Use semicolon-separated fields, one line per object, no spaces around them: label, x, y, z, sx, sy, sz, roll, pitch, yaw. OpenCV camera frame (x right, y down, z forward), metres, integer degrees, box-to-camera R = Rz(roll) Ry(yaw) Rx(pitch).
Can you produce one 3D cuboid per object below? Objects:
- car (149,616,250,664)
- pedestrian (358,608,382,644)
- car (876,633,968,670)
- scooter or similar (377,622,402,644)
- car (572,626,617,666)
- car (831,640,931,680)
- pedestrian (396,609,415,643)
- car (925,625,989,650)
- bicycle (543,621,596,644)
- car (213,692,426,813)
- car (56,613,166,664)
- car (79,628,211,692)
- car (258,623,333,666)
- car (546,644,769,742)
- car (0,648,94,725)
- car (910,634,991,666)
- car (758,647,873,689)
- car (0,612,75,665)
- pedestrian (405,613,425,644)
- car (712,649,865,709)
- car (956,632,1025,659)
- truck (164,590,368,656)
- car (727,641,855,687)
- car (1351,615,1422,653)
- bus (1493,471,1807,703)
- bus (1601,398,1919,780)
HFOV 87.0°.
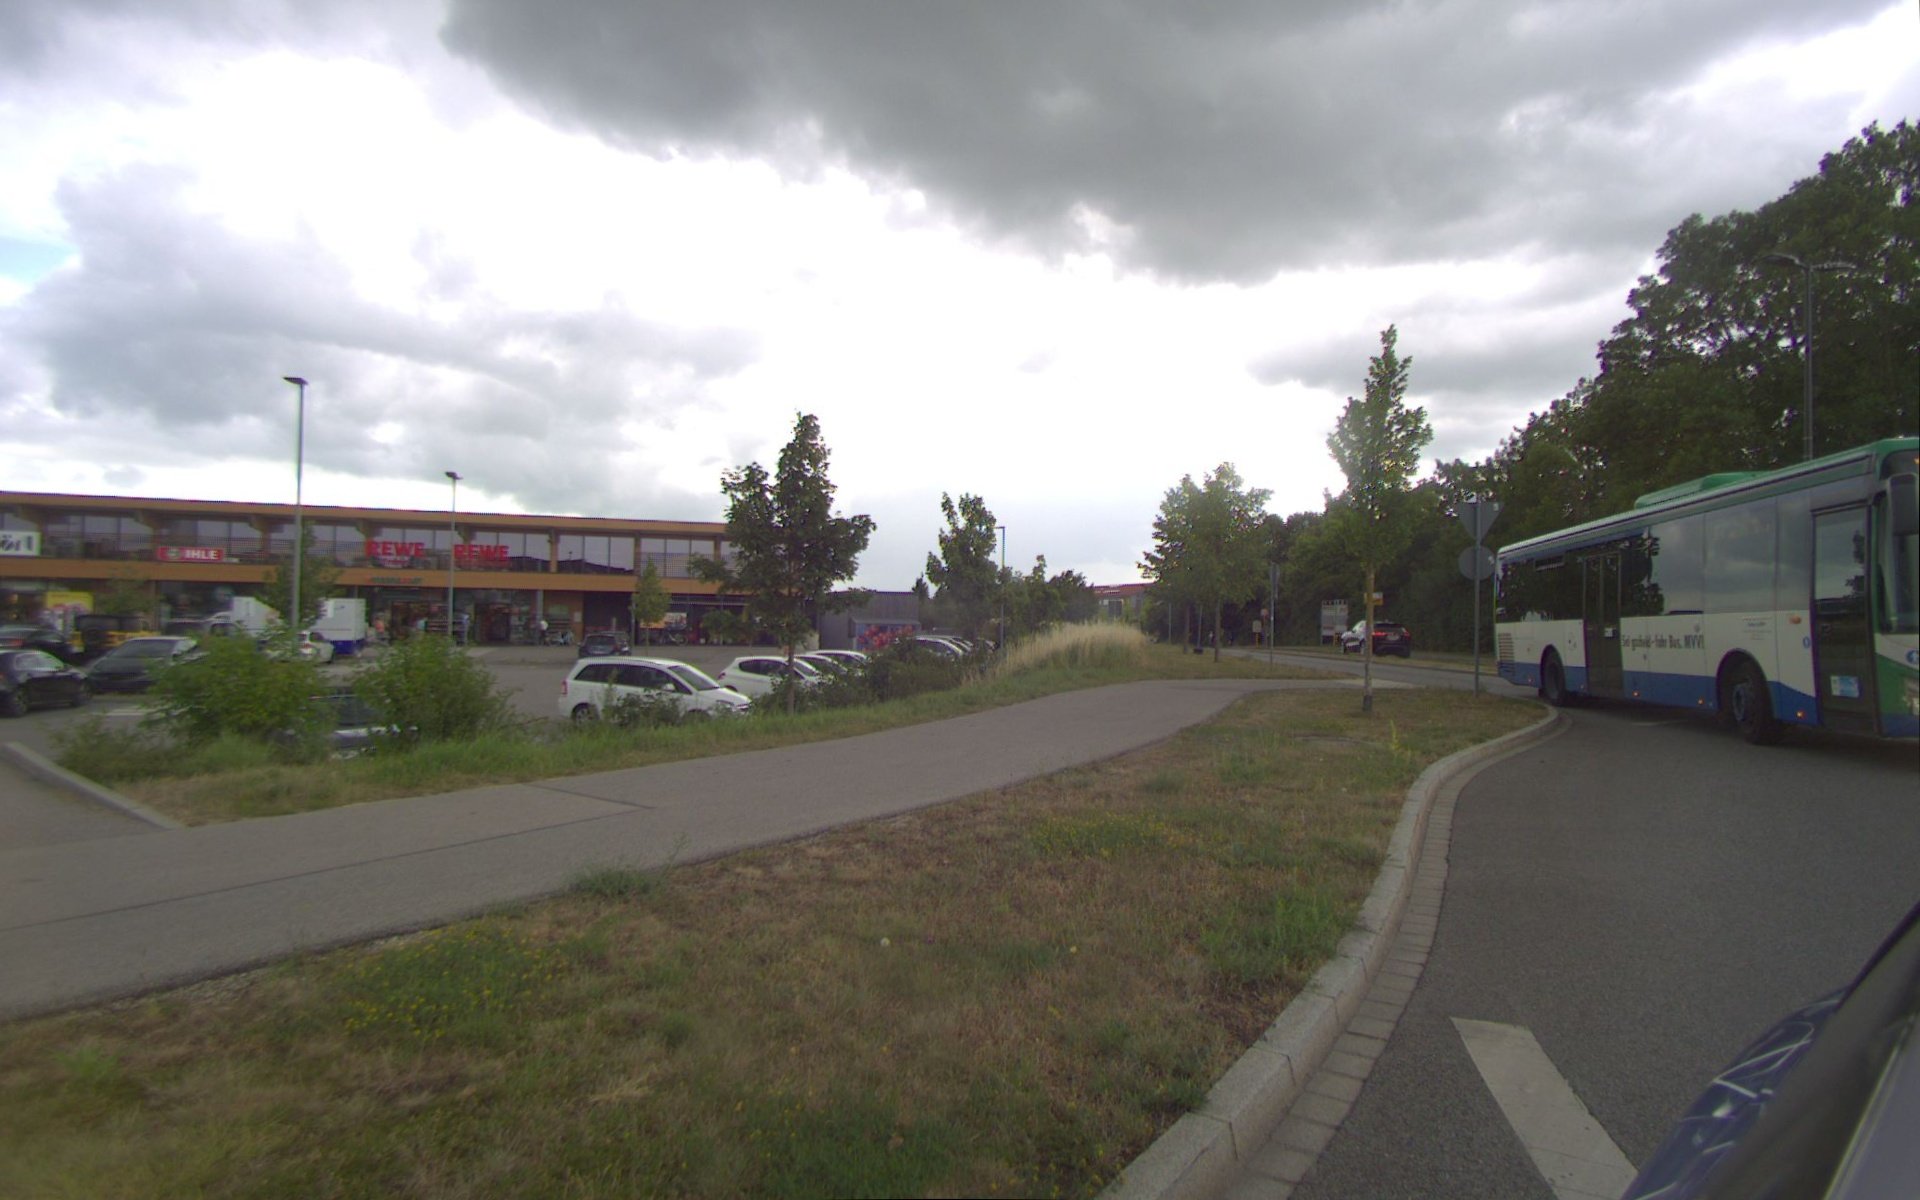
car;-29.334;1.496;39.202;1.813;1.747;4.128;0;-1;-17
pedestrian;-32.149;1.417;55.179;0.909;1.923;0.795;1;-4;-16
car;-1.686;2.283;45.343;3.834;1.483;1.689;1;-1;16
scooter or similar;-31.237;1.814;55.430;0.981;1.141;0.795;1;-3;-16
car;-15.721;1.943;43.672;1.679;1.588;3.677;1;-1;-18
car;-3.262;2.462;42.034;3.834;1.483;1.689;1;-1;16
pedestrian;-34.002;1.598;62.066;0.912;2.039;0.807;1;-1;-21
car;-0.191;2.315;63.210;3.924;1.462;1.883;1;-1;1
bicycle;-23.055;1.942;59.821;2.809;1.326;0.981;1;-1;-17
car;-9.842;2.229;15.478;3.710;1.390;1.559;-1;-2;37
car;-32.638;1.438;39.045;1.735;1.878;4.007;0;-1;-16
car;-22.684;1.612;28.338;1.695;1.573;4.007;1;-1;-21
car;-26.583;1.735;40.601;1.695;1.549;4.008;1;-1;-21
car;-6.648;1.990;22.408;4.374;1.694;1.795;3;1;11
car;-21.279;1.865;22.481;1.798;1.416;4.008;1;-1;-20
car;-0.458;2.521;51.523;3.834;1.483;1.689;1;-1;16
car;-4.904;2.305;34.519;3.620;1.311;1.410;-2;-2;13
car;-35.543;1.409;38.278;1.735;1.878;4.007;1;-1;-20
pedestrian;-30.602;1.593;56.794;0.802;1.678;0.739;0;-1;41
car;-4.775;2.198;28.588;3.927;1.527;1.998;0;-1;4
car;1.824;2.684;59.885;3.834;1.483;1.689;1;-1;16
truck;-31.427;1.042;46.207;7.105;2.843;2.982;1;-1;-21
car;-5.083;1.921;30.785;3.607;1.311;1.715;0;-1;2
car;18.156;1.432;43.229;1.614;1.524;3.578;1;-1;3
bus;11.439;-0.161;17.456;2.487;3.299;5.439;-2;-1;13
bus;10.135;-0.152;11.647;2.487;3.299;6.522;-2;-1;13
